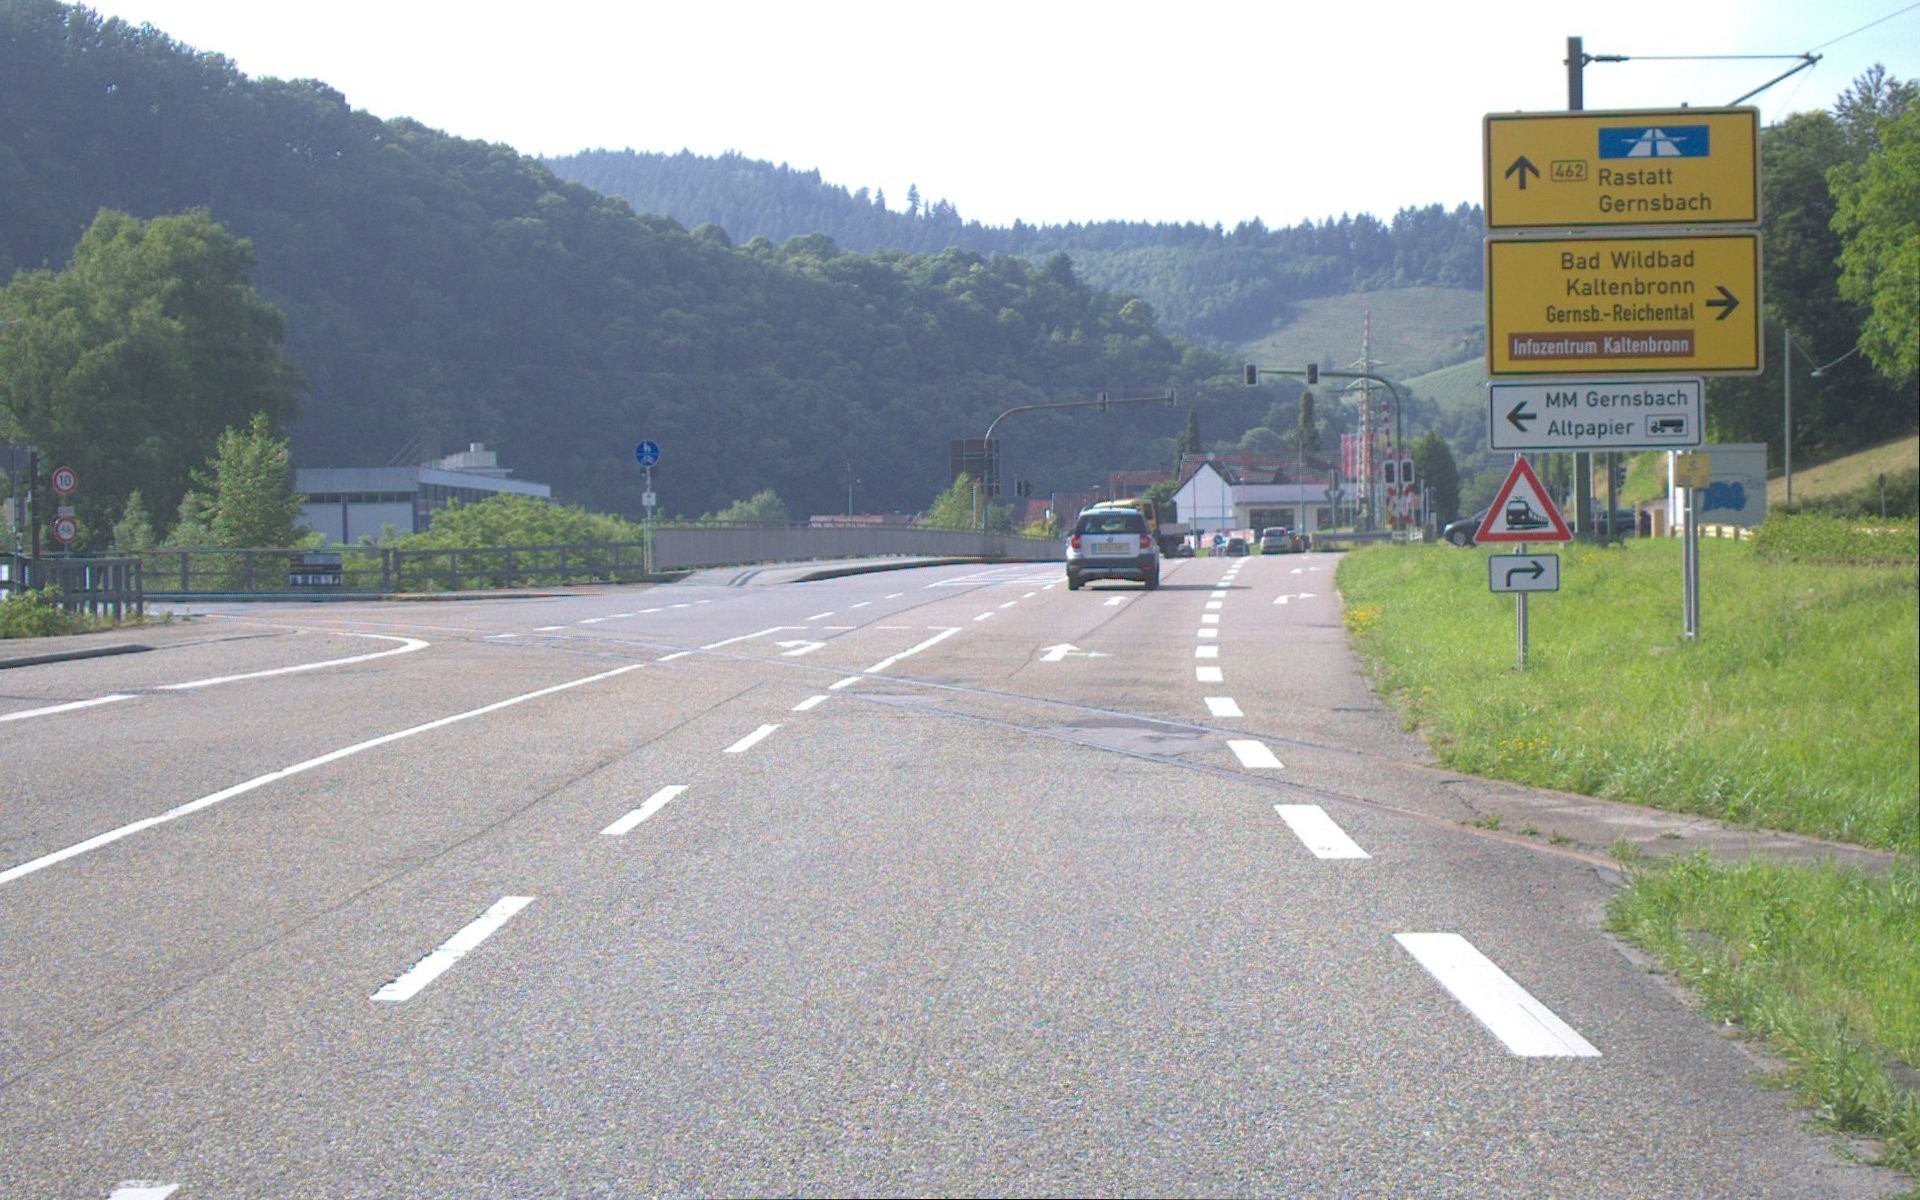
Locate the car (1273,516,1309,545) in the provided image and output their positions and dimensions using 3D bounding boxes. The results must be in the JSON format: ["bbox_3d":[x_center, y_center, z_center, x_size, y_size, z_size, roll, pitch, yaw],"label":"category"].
[{"bbox_3d":[19.576,-4.108,203.499,1.994,1.612,4.000,-1,1,5],"label":"car"}]

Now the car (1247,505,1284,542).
[{"bbox_3d":[16.932,-4.258,190.600,1.994,2.007,4.000,-1,1,5],"label":"car"}]

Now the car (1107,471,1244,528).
[{"bbox_3d":[8.407,-3.920,133.812,5.281,2.007,1.999,-4,1,-39],"label":"car"}]

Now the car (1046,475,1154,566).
[{"bbox_3d":[2.823,-1.607,70.082,1.993,1.717,3.990,-3,1,0],"label":"car"}]
